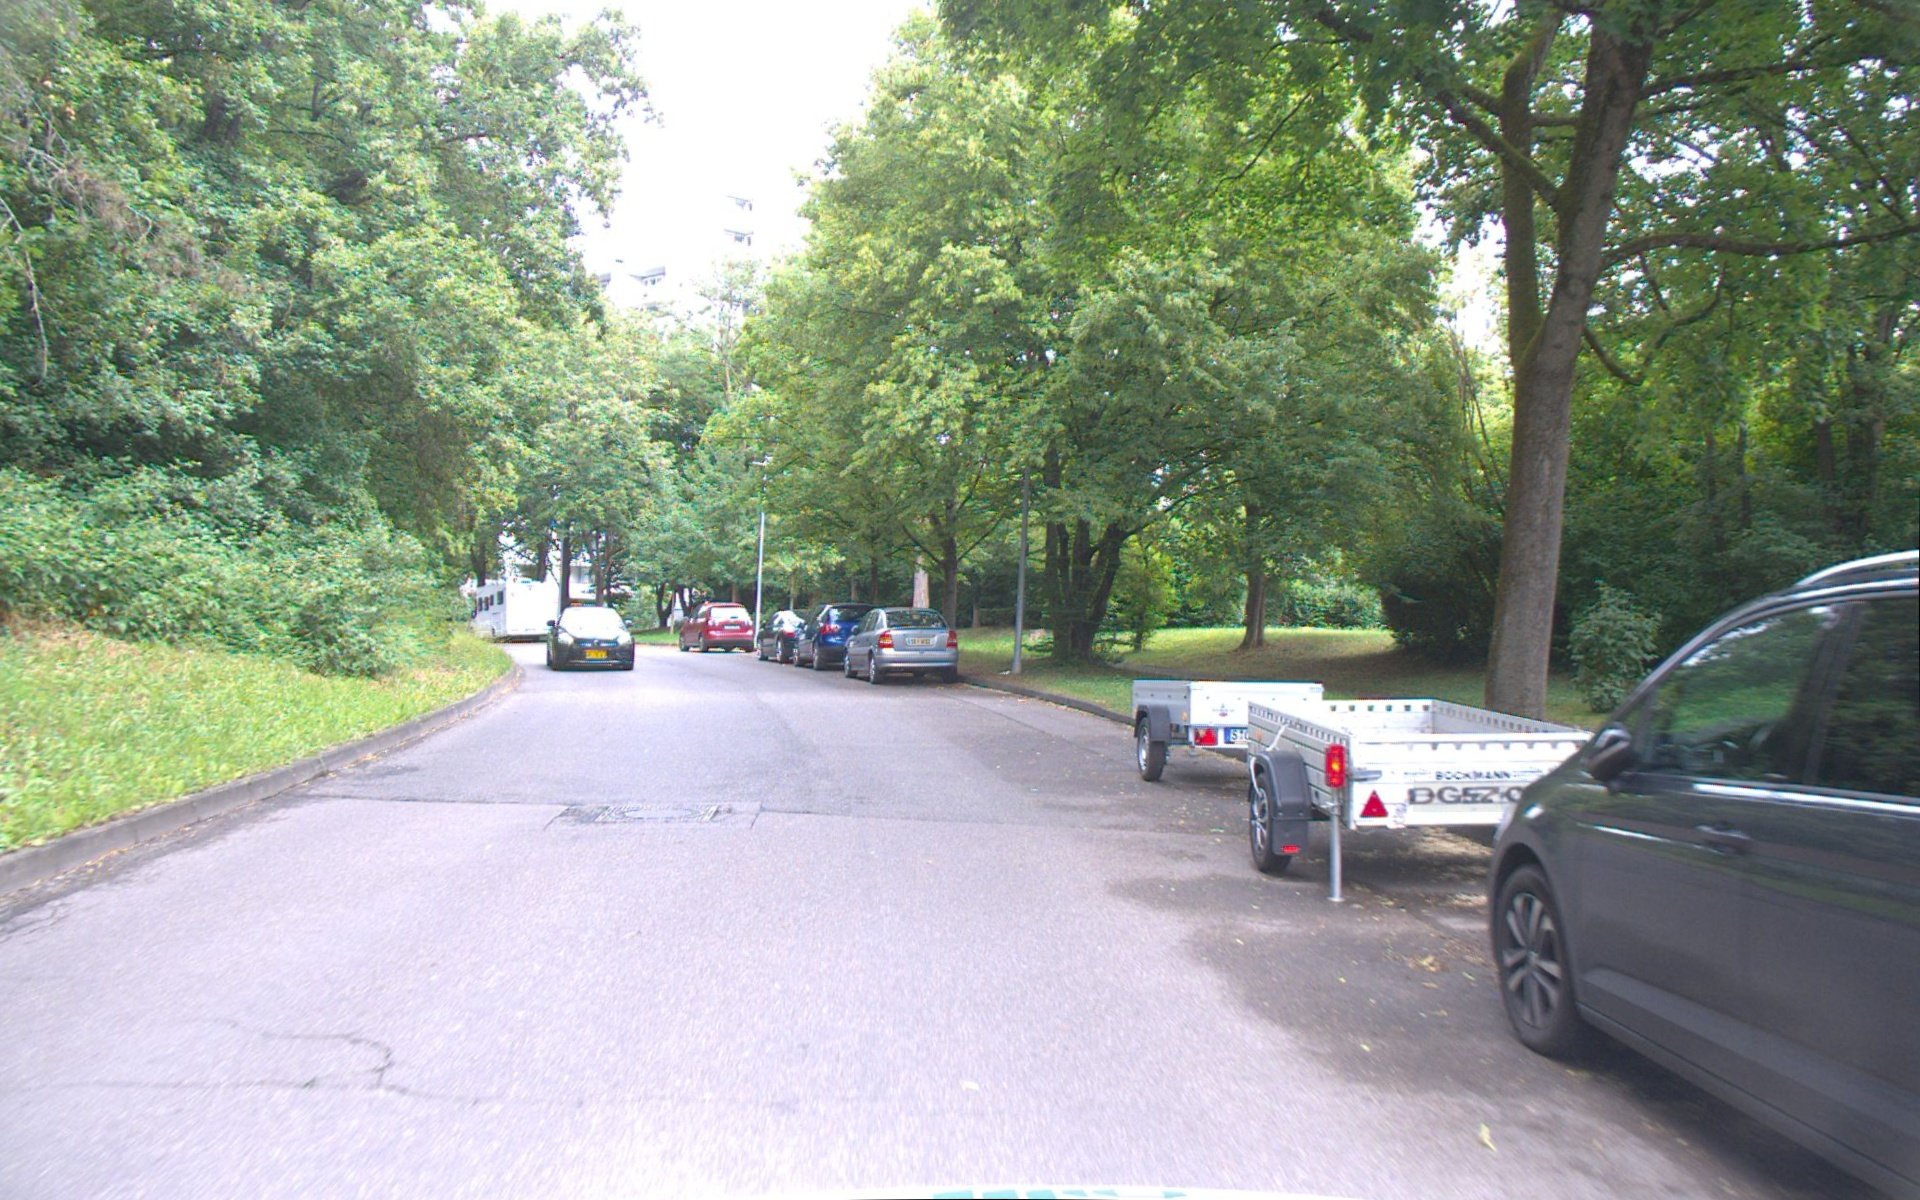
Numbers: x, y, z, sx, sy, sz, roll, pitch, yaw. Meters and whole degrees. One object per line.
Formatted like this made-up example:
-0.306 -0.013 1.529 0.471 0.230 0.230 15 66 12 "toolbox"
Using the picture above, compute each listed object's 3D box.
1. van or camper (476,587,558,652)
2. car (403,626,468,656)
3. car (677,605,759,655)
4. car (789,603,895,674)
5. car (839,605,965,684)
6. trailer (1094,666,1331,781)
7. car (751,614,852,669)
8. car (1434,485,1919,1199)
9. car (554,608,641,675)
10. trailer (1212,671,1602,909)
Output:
-21.631 0.929 80.546 2.407 3.060 5.149 0 0 -33 "van or camper"
-28.989 2.268 91.361 1.982 1.499 3.941 4 -2 -41 "car"
-7.928 0.987 54.014 1.715 1.590 3.971 0 -1 -23 "car"
-2.855 0.910 39.232 1.686 1.536 4.163 3 -2 -15 "car"
-1.219 0.870 32.748 1.689 1.457 3.933 0 -1 -15 "car"
2.204 1.075 15.148 1.337 0.862 3.274 2 -2 -6 "trailer"
-4.250 1.084 43.770 1.723 1.360 4.391 1 -1 -19 "car"
2.892 0.634 4.279 1.740 1.691 4.838 2 -1 -2 "car"
-8.483 0.985 38.972 1.758 1.413 4.480 2 -2 -10 "car"
2.574 1.053 10.367 1.329 0.986 3.892 2 0 -1 "trailer"
